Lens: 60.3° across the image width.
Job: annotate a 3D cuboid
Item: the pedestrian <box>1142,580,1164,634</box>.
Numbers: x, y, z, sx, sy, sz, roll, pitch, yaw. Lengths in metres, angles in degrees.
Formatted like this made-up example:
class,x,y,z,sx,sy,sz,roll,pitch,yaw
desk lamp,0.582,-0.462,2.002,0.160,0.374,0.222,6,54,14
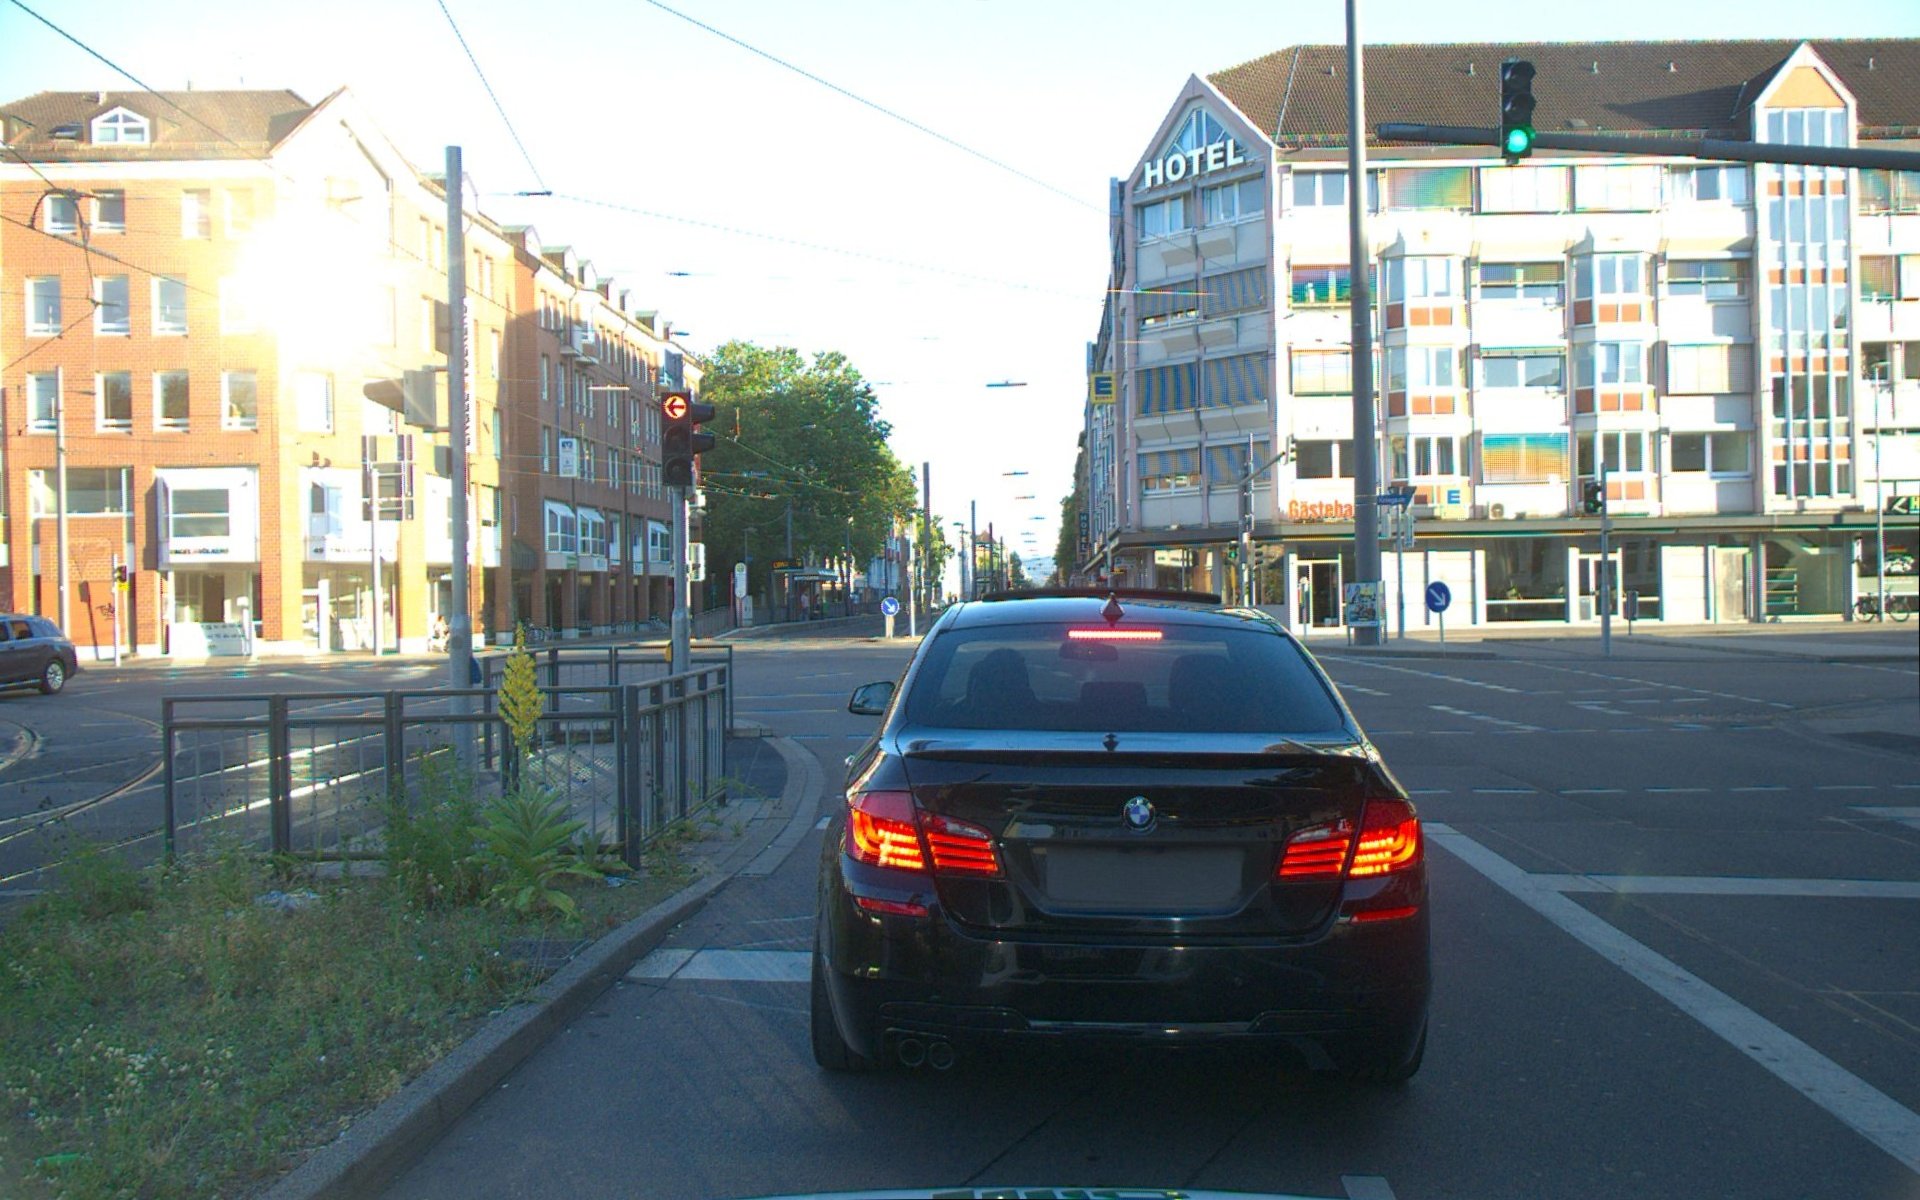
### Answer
class,x,y,z,sx,sy,sz,roll,pitch,yaw
pedestrian,6.863,0.238,58.887,0.670,1.886,0.671,-1,0,-1

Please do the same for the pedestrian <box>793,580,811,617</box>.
class,x,y,z,sx,sy,sz,roll,pitch,yaw
pedestrian,-9.011,-0.083,94.350,0.967,2.049,0.726,0,0,2

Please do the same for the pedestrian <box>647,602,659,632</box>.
class,x,y,z,sx,sy,sz,roll,pitch,yaw
pedestrian,-17.531,0.966,94.566,0.476,1.710,0.655,-1,0,7

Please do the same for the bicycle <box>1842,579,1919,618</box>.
class,x,y,z,sx,sy,sz,roll,pitch,yaw
bicycle,31.677,-0.065,56.779,2.356,1.287,0.823,-1,0,-2

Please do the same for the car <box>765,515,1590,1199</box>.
class,x,y,z,sx,sy,sz,roll,pitch,yaw
car,0.488,0.603,5.947,1.953,1.612,3.999,1,0,-1

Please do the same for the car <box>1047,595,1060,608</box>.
class,x,y,z,sx,sy,sz,roll,pitch,yaw
car,10.979,0.156,194.333,1.442,1.541,3.097,-1,0,2

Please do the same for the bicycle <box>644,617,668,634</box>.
class,x,y,z,sx,sy,sz,roll,pitch,yaw
bicycle,-17.503,1.472,95.262,1.387,0.938,0.402,1,0,-11

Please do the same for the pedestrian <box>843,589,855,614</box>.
class,x,y,z,sx,sy,sz,roll,pitch,yaw
pedestrian,-7.860,0.110,117.157,0.708,1.710,0.992,-1,0,5

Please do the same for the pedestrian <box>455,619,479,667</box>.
class,x,y,z,sx,sy,sz,roll,pitch,yaw
pedestrian,-19.701,1.720,66.135,0.620,1.900,0.677,1,0,29

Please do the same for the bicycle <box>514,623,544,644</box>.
class,x,y,z,sx,sy,sz,roll,pitch,yaw
bicycle,-19.082,1.483,73.198,1.263,0.938,0.348,1,0,-13

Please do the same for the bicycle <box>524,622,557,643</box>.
class,x,y,z,sx,sy,sz,roll,pitch,yaw
bicycle,-18.874,1.471,74.406,1.388,0.938,0.442,1,0,-13

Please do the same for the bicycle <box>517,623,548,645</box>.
class,x,y,z,sx,sy,sz,roll,pitch,yaw
bicycle,-18.719,1.488,72.412,1.259,0.938,0.349,1,0,-1

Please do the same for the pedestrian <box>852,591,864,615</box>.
class,x,y,z,sx,sy,sz,roll,pitch,yaw
pedestrian,-7.364,0.232,119.241,0.708,1.710,0.992,-1,0,5

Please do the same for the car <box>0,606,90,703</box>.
class,x,y,z,sx,sy,sz,roll,pitch,yaw
car,-17.265,0.960,28.641,1.952,1.612,4.479,-2,0,1

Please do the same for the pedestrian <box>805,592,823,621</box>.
class,x,y,z,sx,sy,sz,roll,pitch,yaw
pedestrian,-8.799,0.405,99.421,0.967,1.710,0.726,-1,0,2
